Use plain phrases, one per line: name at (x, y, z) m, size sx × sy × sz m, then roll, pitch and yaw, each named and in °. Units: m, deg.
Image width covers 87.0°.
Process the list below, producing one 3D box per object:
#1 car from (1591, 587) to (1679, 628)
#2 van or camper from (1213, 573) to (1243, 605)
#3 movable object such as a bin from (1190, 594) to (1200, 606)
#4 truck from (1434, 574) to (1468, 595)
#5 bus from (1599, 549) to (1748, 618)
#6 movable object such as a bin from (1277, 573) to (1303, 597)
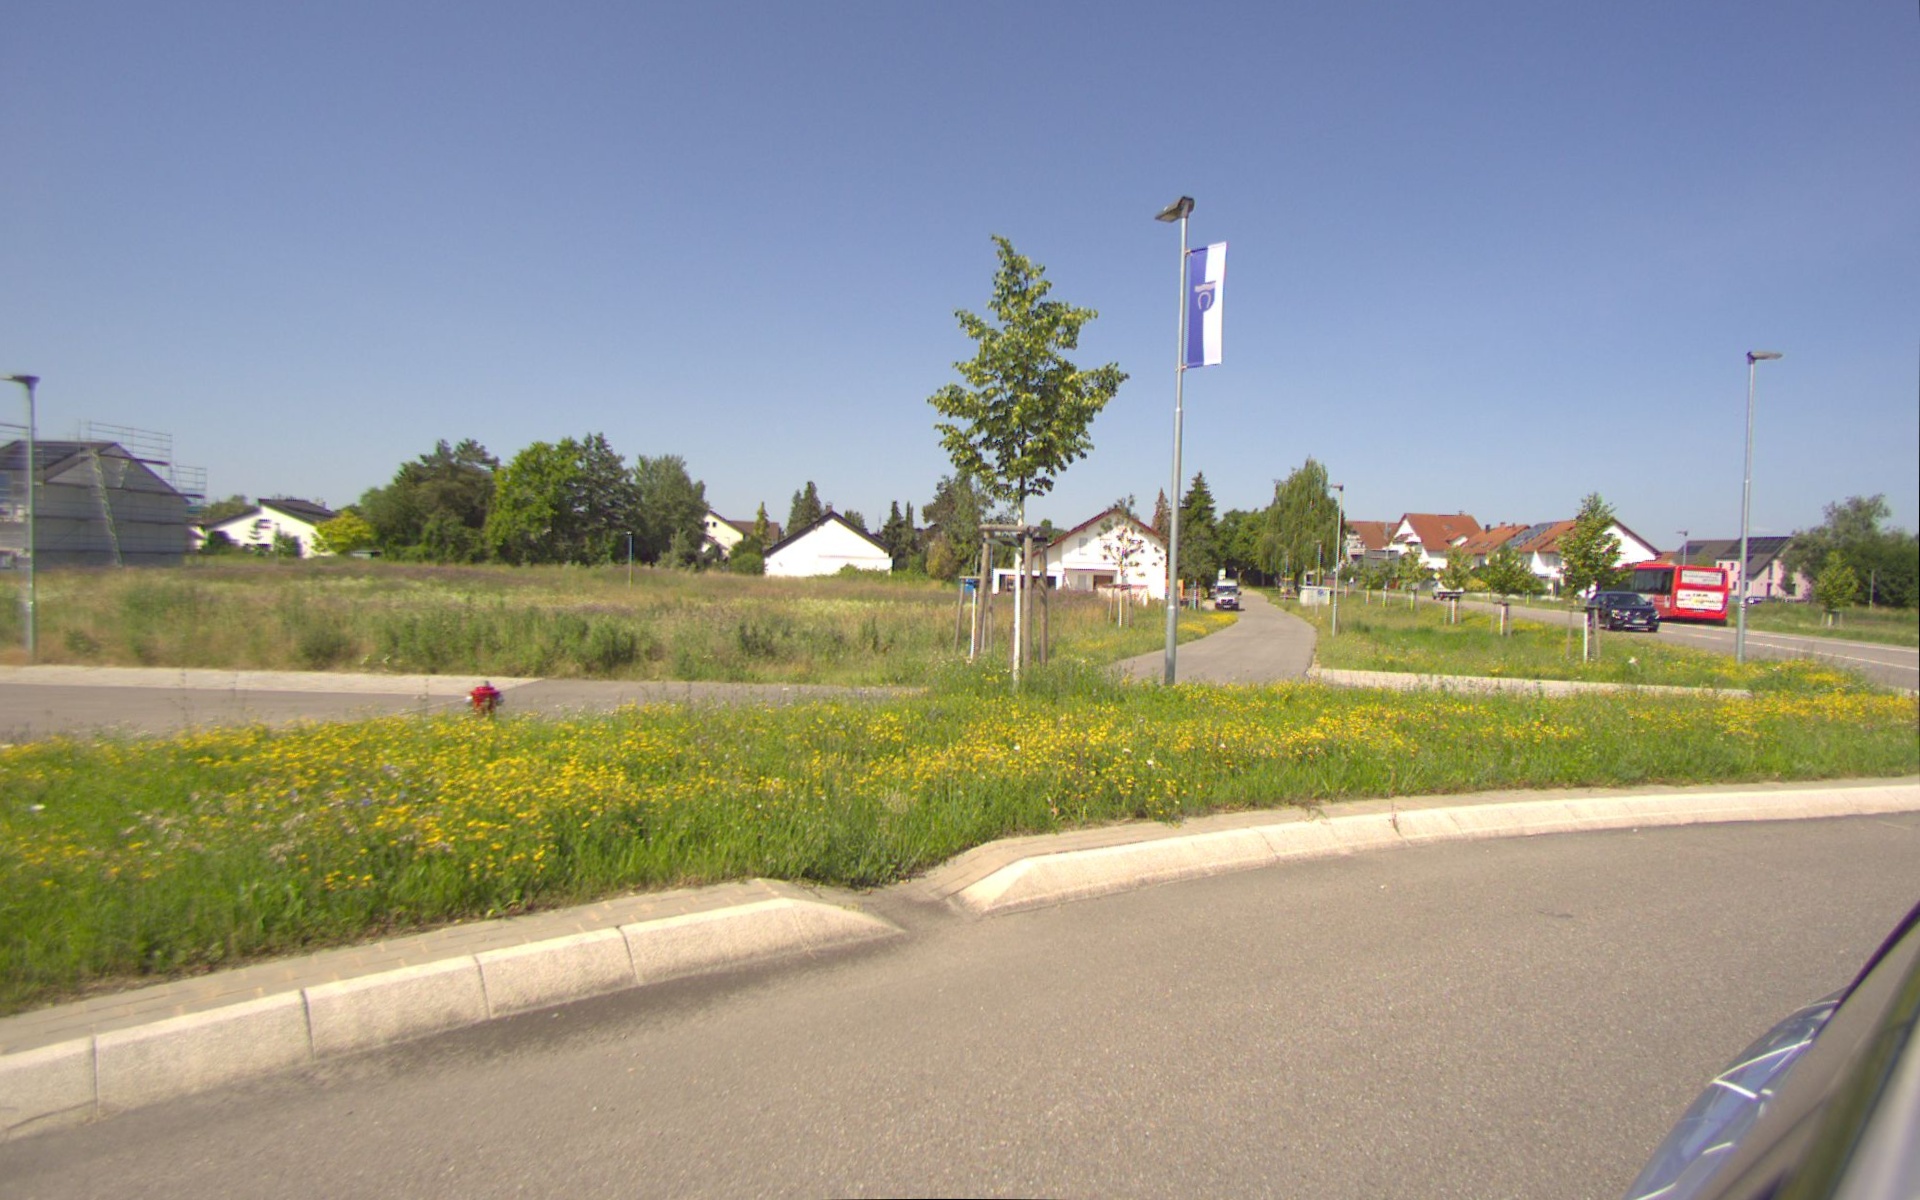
car at (29.086, 0.277, 43.736) m, size 1.907 × 1.580 × 3.982 m, roll 2°, pitch 1°, yaw 15°
van or camper at (22.516, -0.976, 85.218) m, size 2.146 × 2.633 × 6.010 m, roll 1°, pitch 2°, yaw 12°
movable object such as a bin at (19.287, 0.028, 83.112) m, size 0.686 × 0.949 × 0.634 m, roll 1°, pitch 1°, yaw 21°
truck at (47.803, -1.524, 98.601) m, size 1.930 × 2.009 × 5.617 m, roll 1°, pitch 1°, yaw 16°
bus at (39.706, -0.965, 57.004) m, size 2.765 × 3.327 × 12.169 m, roll 4°, pitch 2°, yaw 16°
movable object such as a bin at (34.482, -1.525, 105.926) m, size 2.291 × 2.494 × 6.910 m, roll 0°, pitch 0°, yaw 16°
